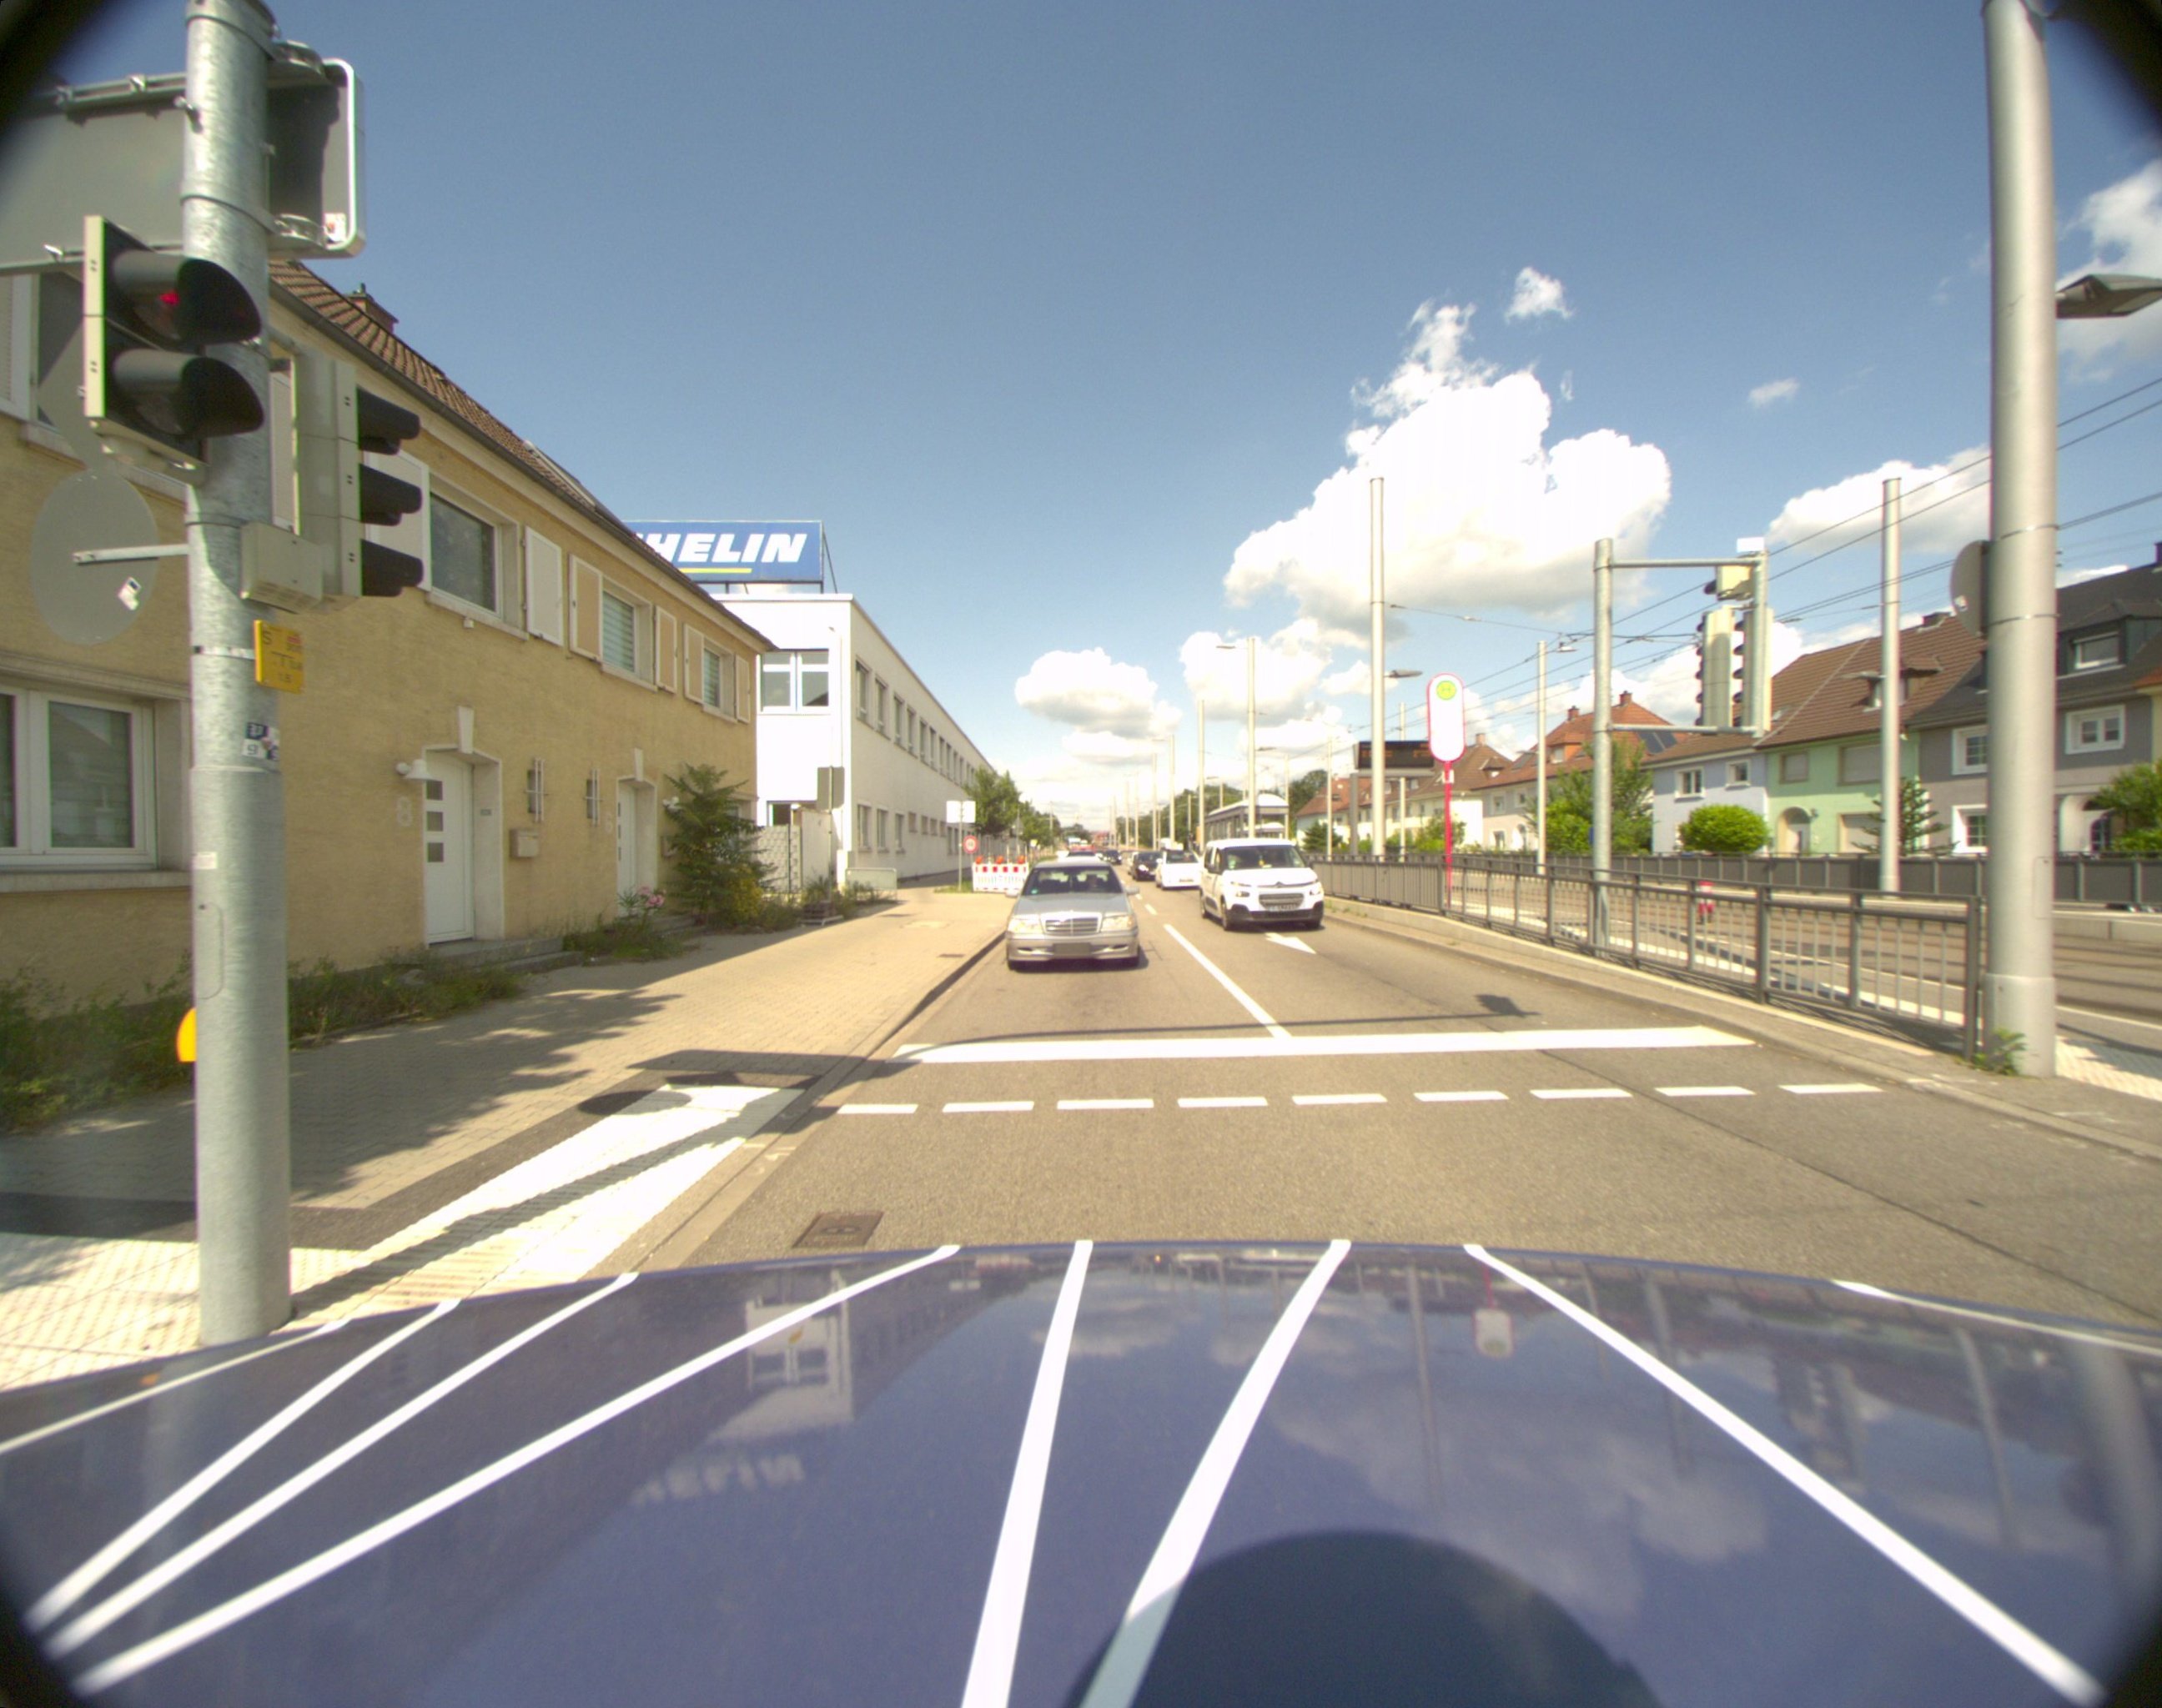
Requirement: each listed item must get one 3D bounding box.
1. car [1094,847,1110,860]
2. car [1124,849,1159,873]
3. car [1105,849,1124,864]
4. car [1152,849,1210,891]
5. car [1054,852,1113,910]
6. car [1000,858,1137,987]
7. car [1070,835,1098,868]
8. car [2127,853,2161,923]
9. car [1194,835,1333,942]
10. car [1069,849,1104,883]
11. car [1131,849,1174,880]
[{"bbox_3d":[2.516,-0.069,90.256,1.698,1.350,4.497,-2,1,-1],"label":"car"},{"bbox_3d":[3.740,0.399,47.536,1.698,1.350,4.497,-2,1,-1],"label":"car"},{"bbox_3d":[3.348,0.237,76.439,1.698,1.350,4.497,-2,1,-1],"label":"car"},{"bbox_3d":[3.873,0.574,29.861,1.680,1.495,3.392,-2,1,-2],"label":"car"},{"bbox_3d":[0.050,0.772,23.988,1.664,1.564,3.999,-2,1,-1],"label":"car"},{"bbox_3d":[-0.174,0.843,11.390,1.608,1.389,4.461,-2,1,-1],"label":"car"},{"bbox_3d":[0.181,-0.223,54.060,1.787,2.135,5.168,-2,1,-1],"label":"car"},{"bbox_3d":[21.916,0.685,13.125,1.689,1.344,4.344,-2,1,0],"label":"car"},{"bbox_3d":[3.528,0.565,15.495,1.799,1.805,4.328,-2,1,1],"label":"car"},{"bbox_3d":[0.243,0.567,38.859,1.664,1.530,3.999,-2,1,-1],"label":"car"},{"bbox_3d":[3.580,0.495,38.564,1.680,1.414,3.557,-2,1,-2],"label":"car"}]
